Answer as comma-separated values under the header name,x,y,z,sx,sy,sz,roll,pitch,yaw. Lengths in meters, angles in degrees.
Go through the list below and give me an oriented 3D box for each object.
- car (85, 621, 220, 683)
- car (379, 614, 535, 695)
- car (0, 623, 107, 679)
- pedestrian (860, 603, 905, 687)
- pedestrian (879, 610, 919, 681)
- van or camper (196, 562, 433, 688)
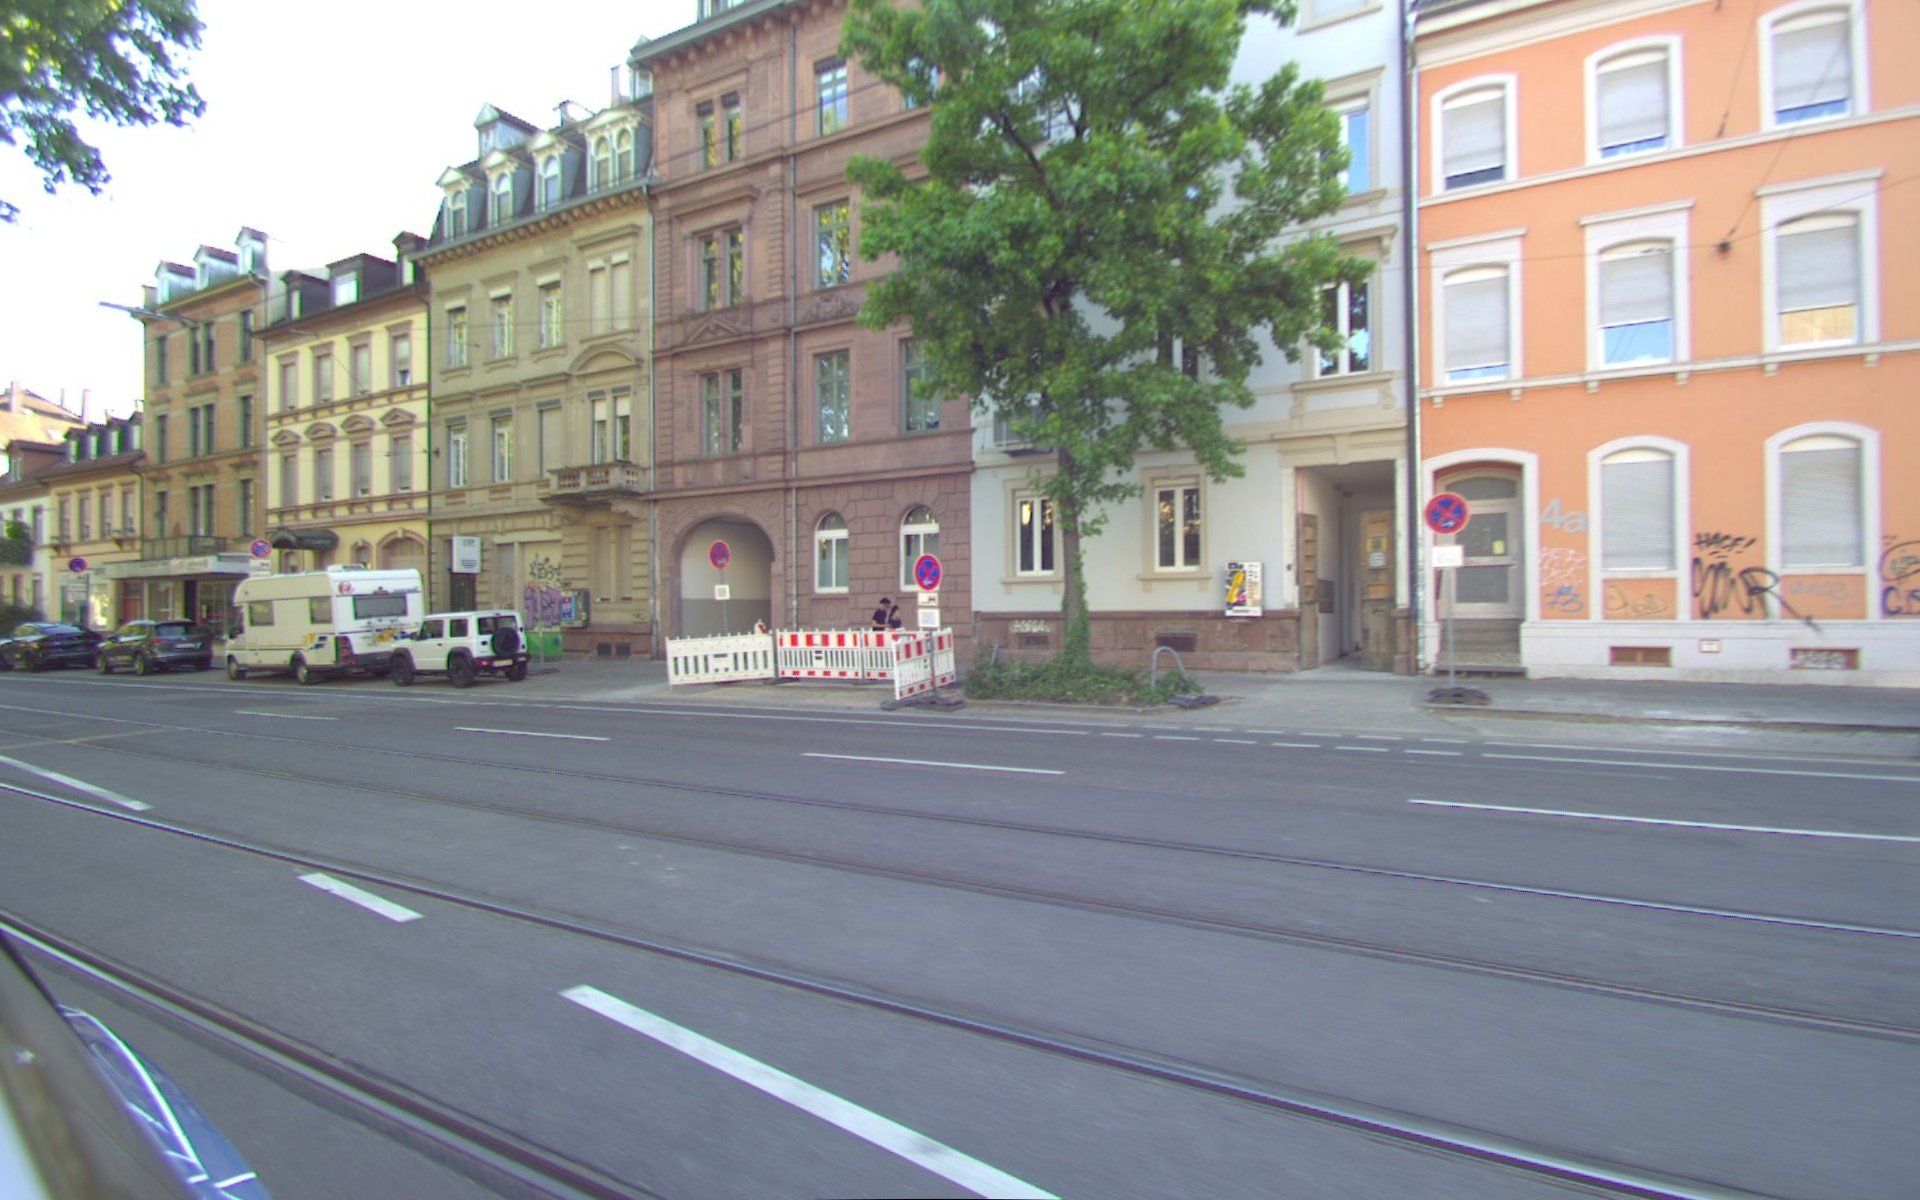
name,x,y,z,sx,sy,sz,roll,pitch,yaw
car,-25.397,1.612,31.800,4.425,1.718,1.798,-1,2,30
car,-11.909,1.242,23.960,3.356,1.718,1.620,-1,1,28
car,-32.235,1.755,35.542,4.732,1.715,1.980,-1,2,30
pedestrian,-1.578,0.910,20.645,0.686,1.666,0.562,-1,0,36
pedestrian,-1.309,0.963,21.633,0.605,1.472,0.572,-1,0,30
van or camper,-17.334,0.626,27.001,7.227,2.969,2.401,-1,2,33
